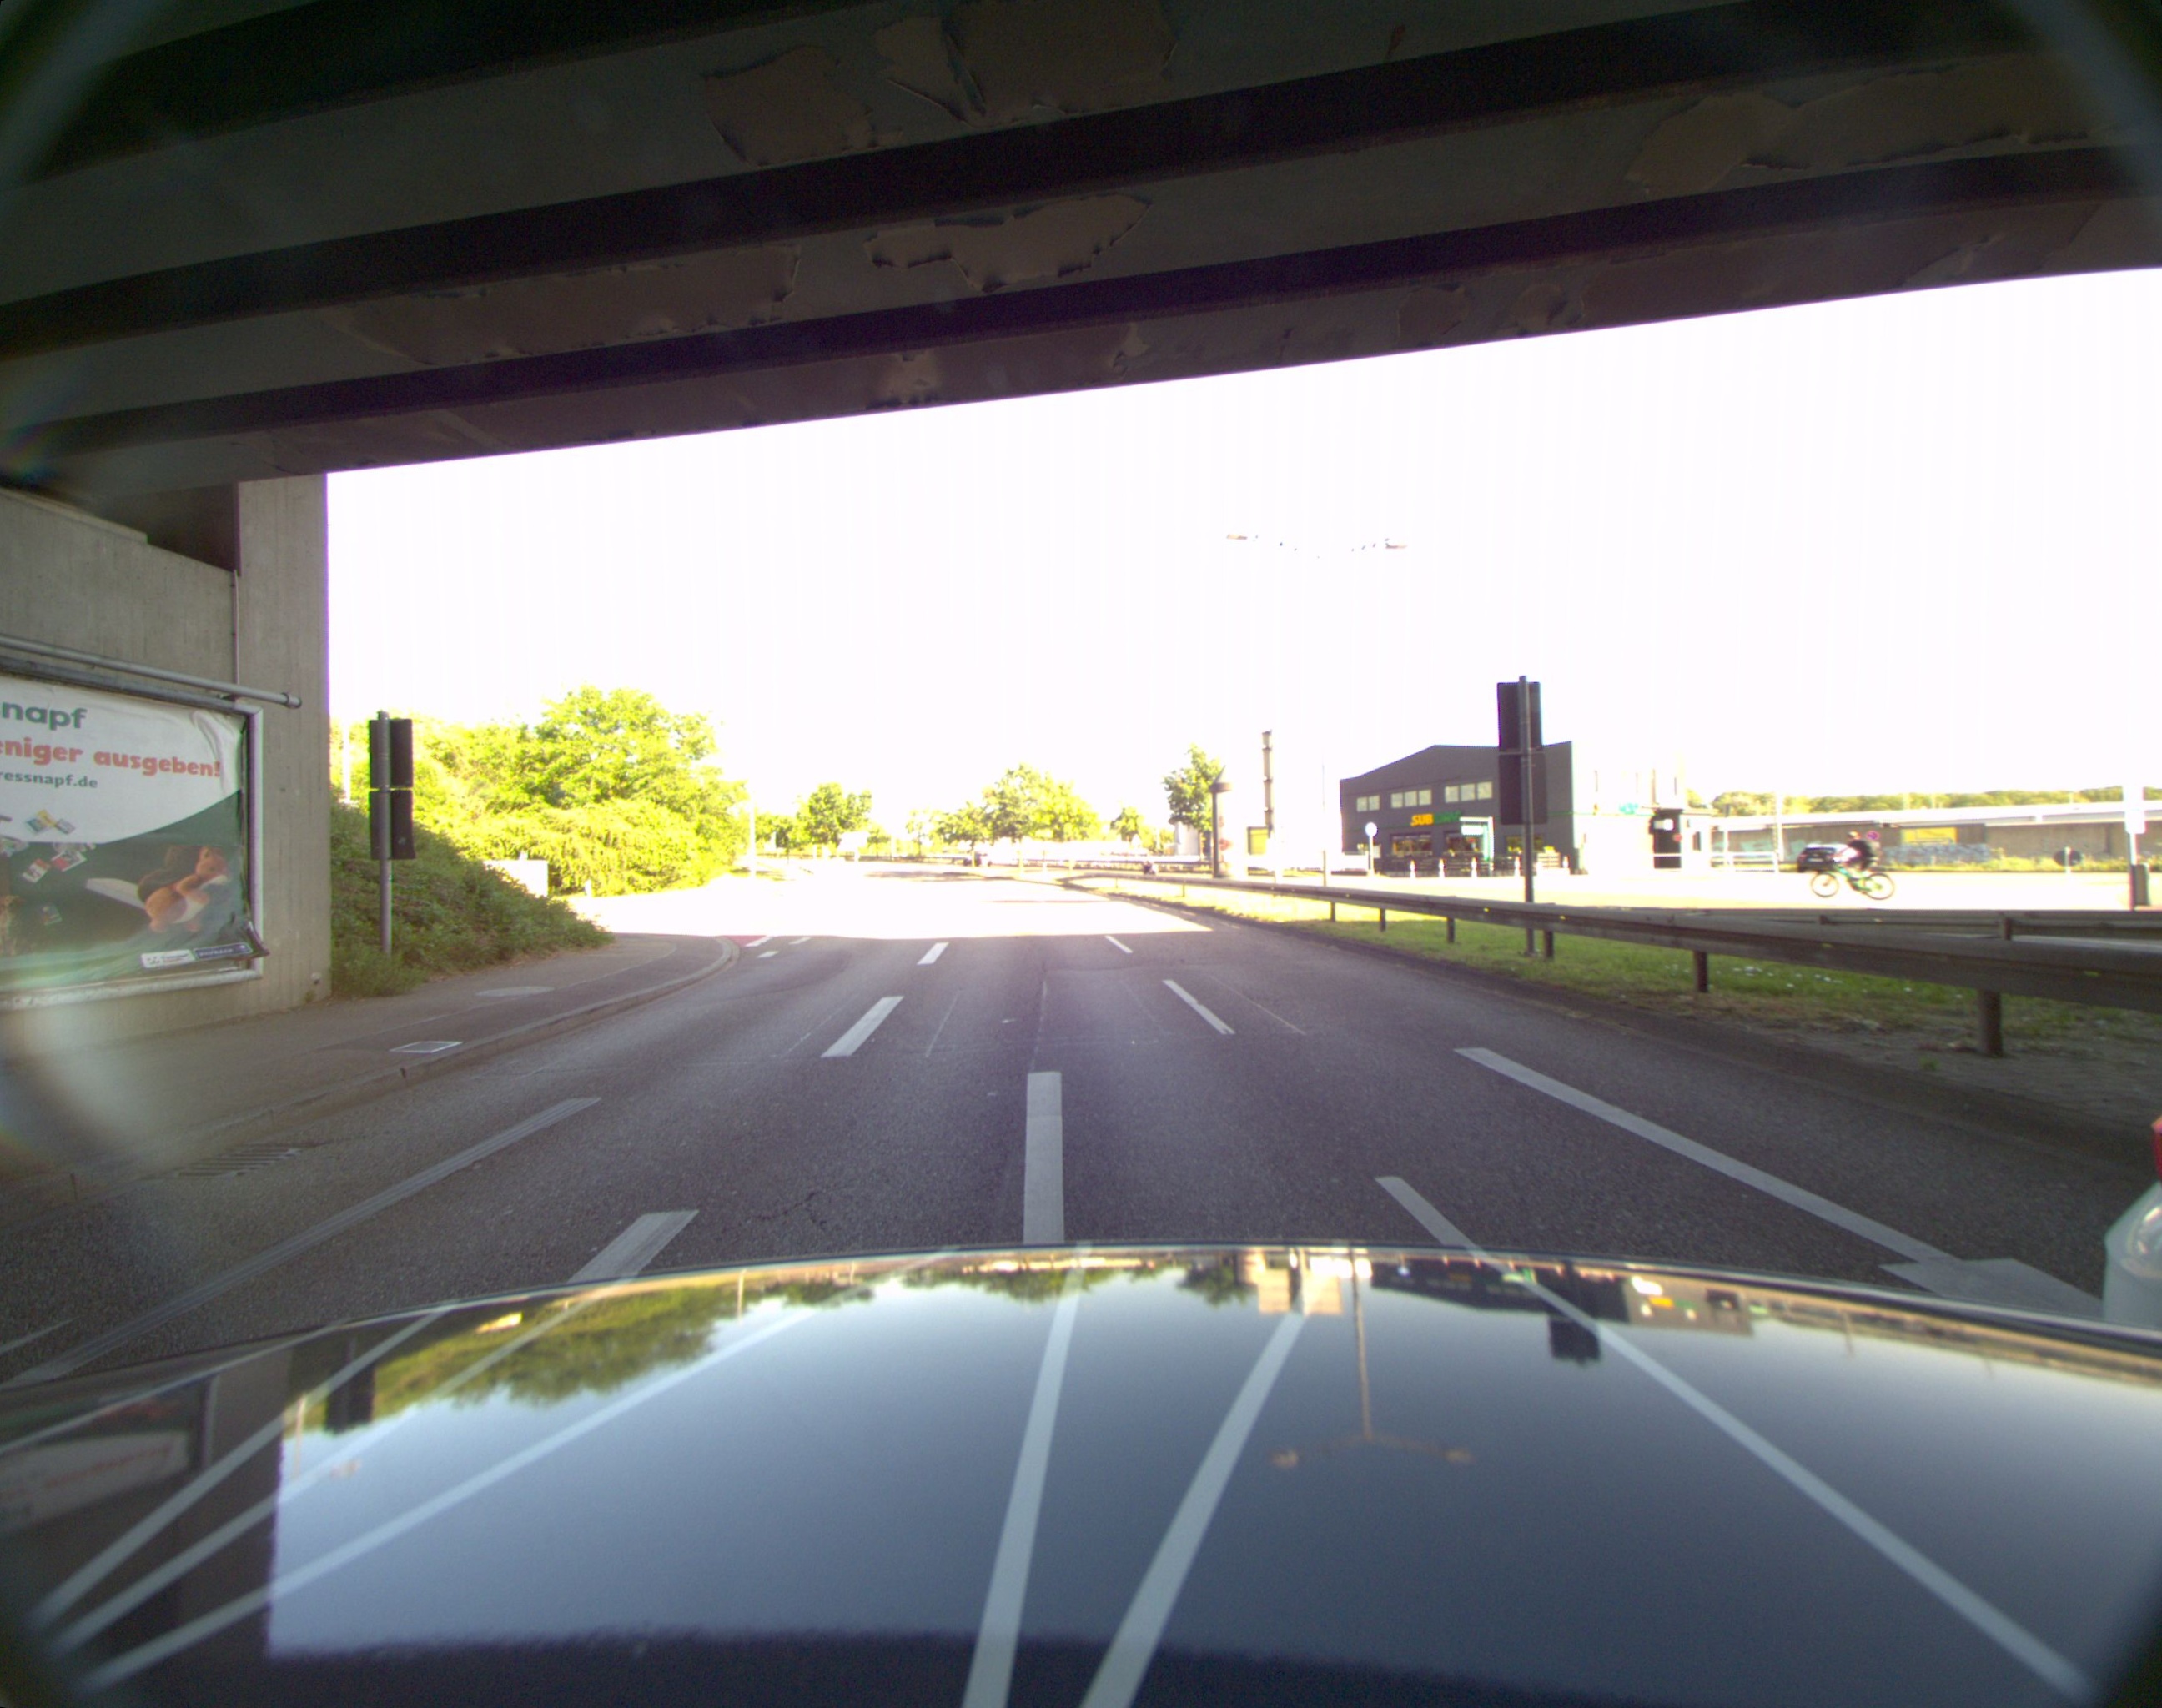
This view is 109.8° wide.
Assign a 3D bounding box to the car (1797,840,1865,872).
[{"bbox_3d":[38.395,0.098,38.892,4.007,1.434,1.878,-3,1,-37],"label":"car"}]

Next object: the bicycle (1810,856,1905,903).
[{"bbox_3d":[20.878,0.656,20.473,0.635,1.159,1.877,-2,1,1],"label":"bicycle"}]

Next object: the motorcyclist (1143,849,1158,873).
[{"bbox_3d":[4.463,0.451,48.845,0.700,1.518,0.697,-1,-1,-26],"label":"motorcyclist"}]

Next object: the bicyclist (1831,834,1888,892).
[{"bbox_3d":[20.855,0.235,20.364,0.629,1.516,0.836,-2,1,1],"label":"bicyclist"}]

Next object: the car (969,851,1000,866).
[{"bbox_3d":[-11.275,0.492,88.264,1.860,1.607,4.354,-3,1,-31],"label":"car"}]

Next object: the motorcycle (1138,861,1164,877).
[{"bbox_3d":[4.469,0.980,48.841,0.696,1.021,2.005,-2,0,-26],"label":"motorcycle"}]
